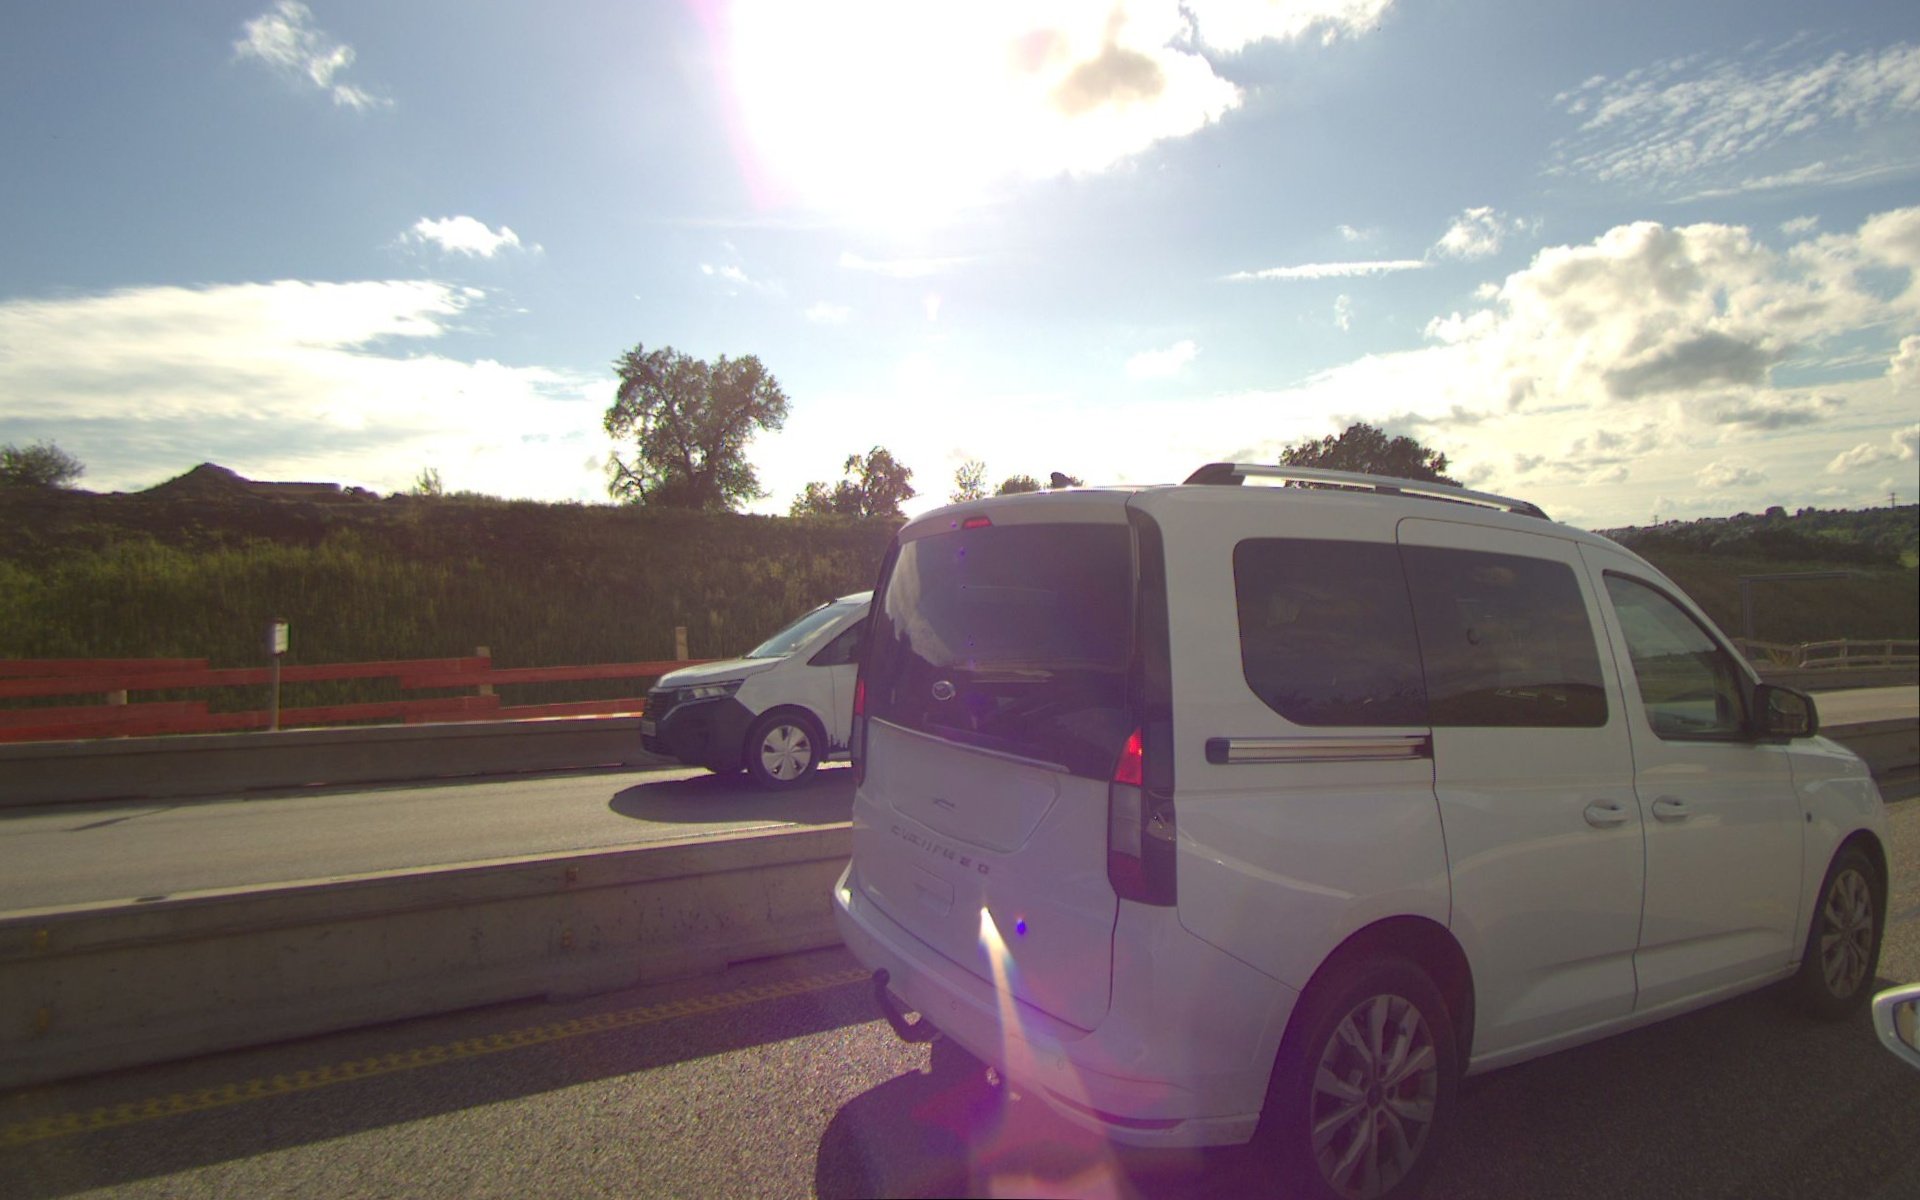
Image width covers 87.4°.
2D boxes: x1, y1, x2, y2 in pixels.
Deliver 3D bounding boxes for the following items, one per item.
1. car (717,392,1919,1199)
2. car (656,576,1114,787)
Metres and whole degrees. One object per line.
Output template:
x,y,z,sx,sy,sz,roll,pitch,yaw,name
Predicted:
1.544,0.574,3.648,4.402,1.848,1.815,1,1,-30,car
-0.657,0.710,9.861,4.171,1.681,1.725,1,-3,-32,car
